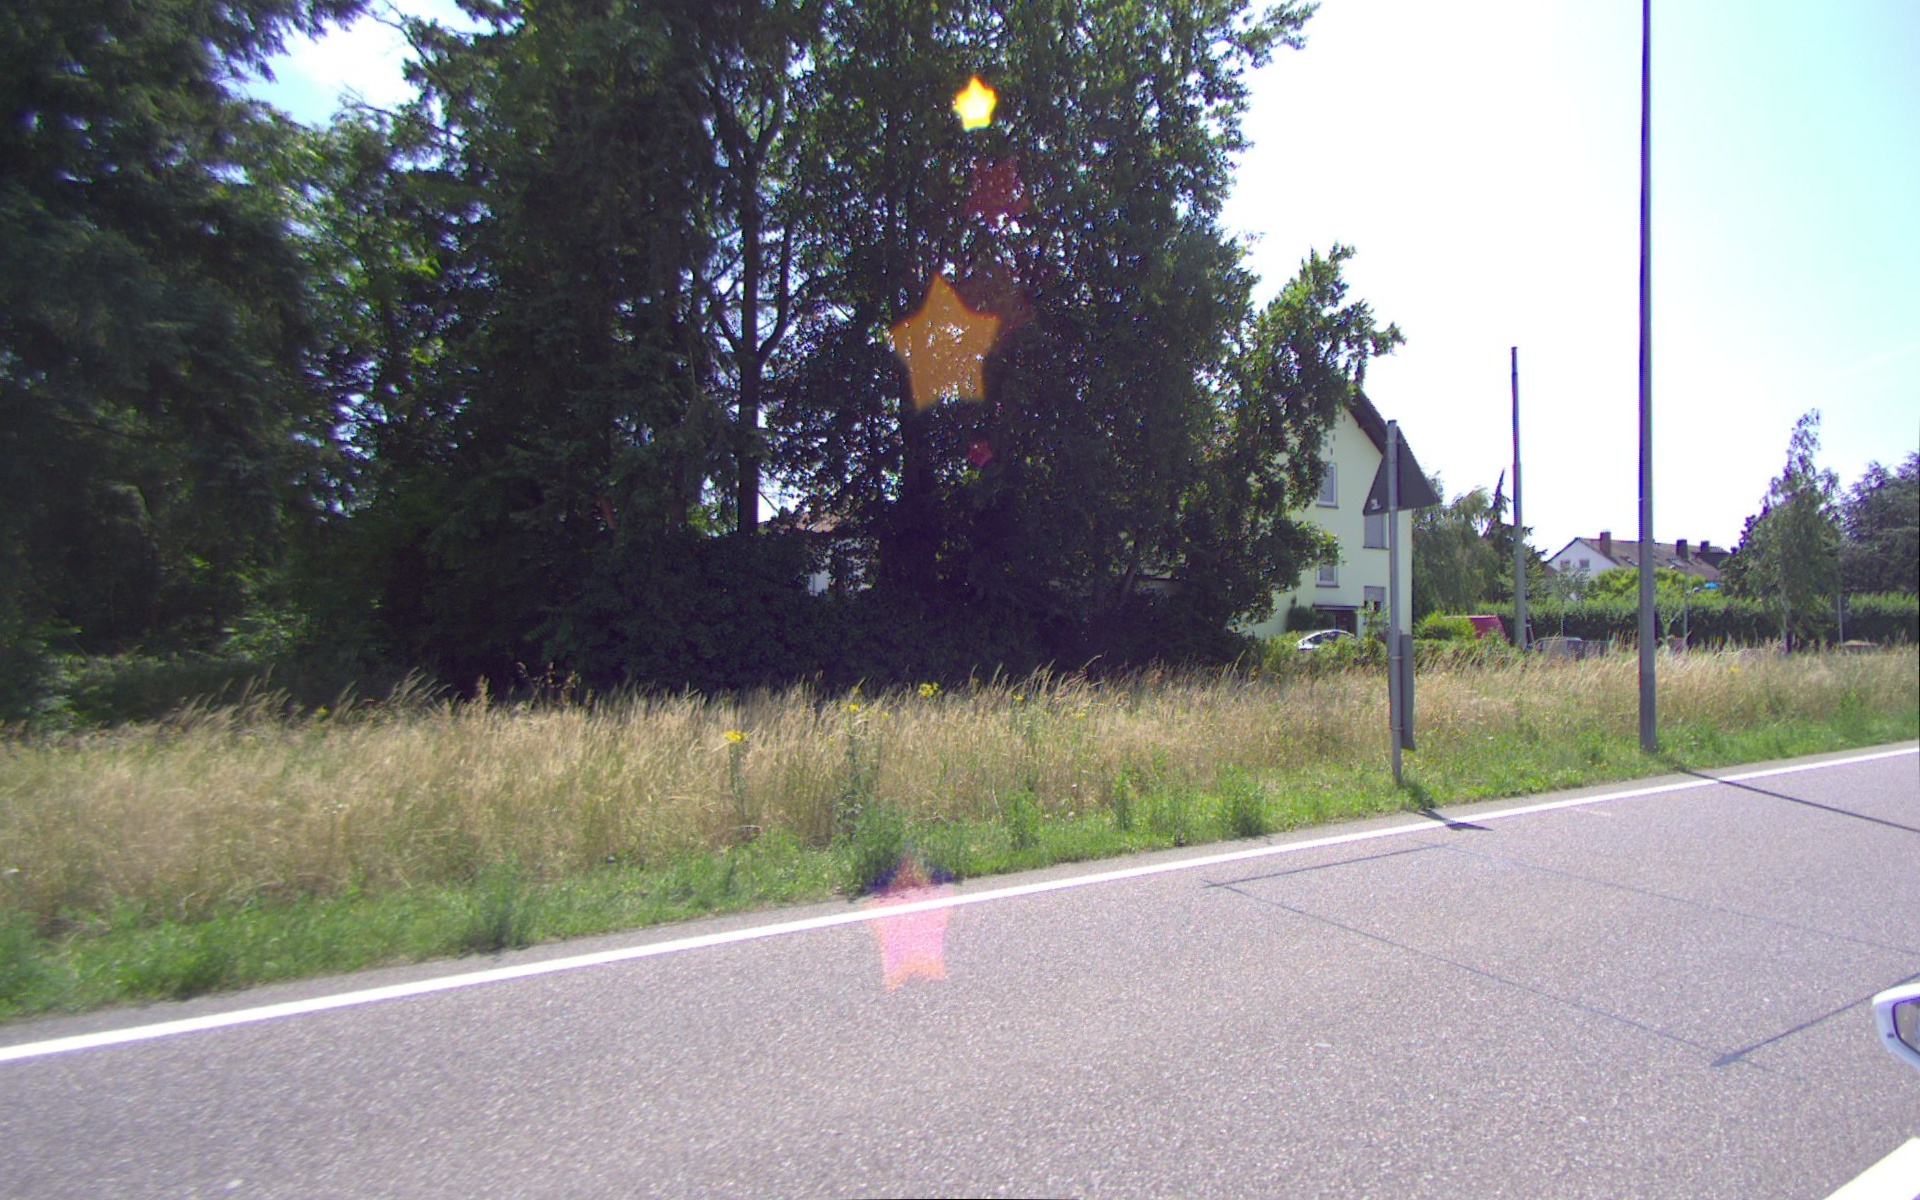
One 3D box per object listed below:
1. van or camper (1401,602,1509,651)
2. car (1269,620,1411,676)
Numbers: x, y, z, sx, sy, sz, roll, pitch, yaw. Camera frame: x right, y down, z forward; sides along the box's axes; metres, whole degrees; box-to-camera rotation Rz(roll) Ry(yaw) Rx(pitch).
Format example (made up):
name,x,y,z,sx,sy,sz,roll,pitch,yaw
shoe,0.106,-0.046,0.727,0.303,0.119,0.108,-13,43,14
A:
name,x,y,z,sx,sy,sz,roll,pitch,yaw
van or camper,25.756,1.354,52.393,1.979,2.420,4.725,1,0,-33
car,11.147,1.363,29.375,4.138,1.511,1.698,1,0,-31
